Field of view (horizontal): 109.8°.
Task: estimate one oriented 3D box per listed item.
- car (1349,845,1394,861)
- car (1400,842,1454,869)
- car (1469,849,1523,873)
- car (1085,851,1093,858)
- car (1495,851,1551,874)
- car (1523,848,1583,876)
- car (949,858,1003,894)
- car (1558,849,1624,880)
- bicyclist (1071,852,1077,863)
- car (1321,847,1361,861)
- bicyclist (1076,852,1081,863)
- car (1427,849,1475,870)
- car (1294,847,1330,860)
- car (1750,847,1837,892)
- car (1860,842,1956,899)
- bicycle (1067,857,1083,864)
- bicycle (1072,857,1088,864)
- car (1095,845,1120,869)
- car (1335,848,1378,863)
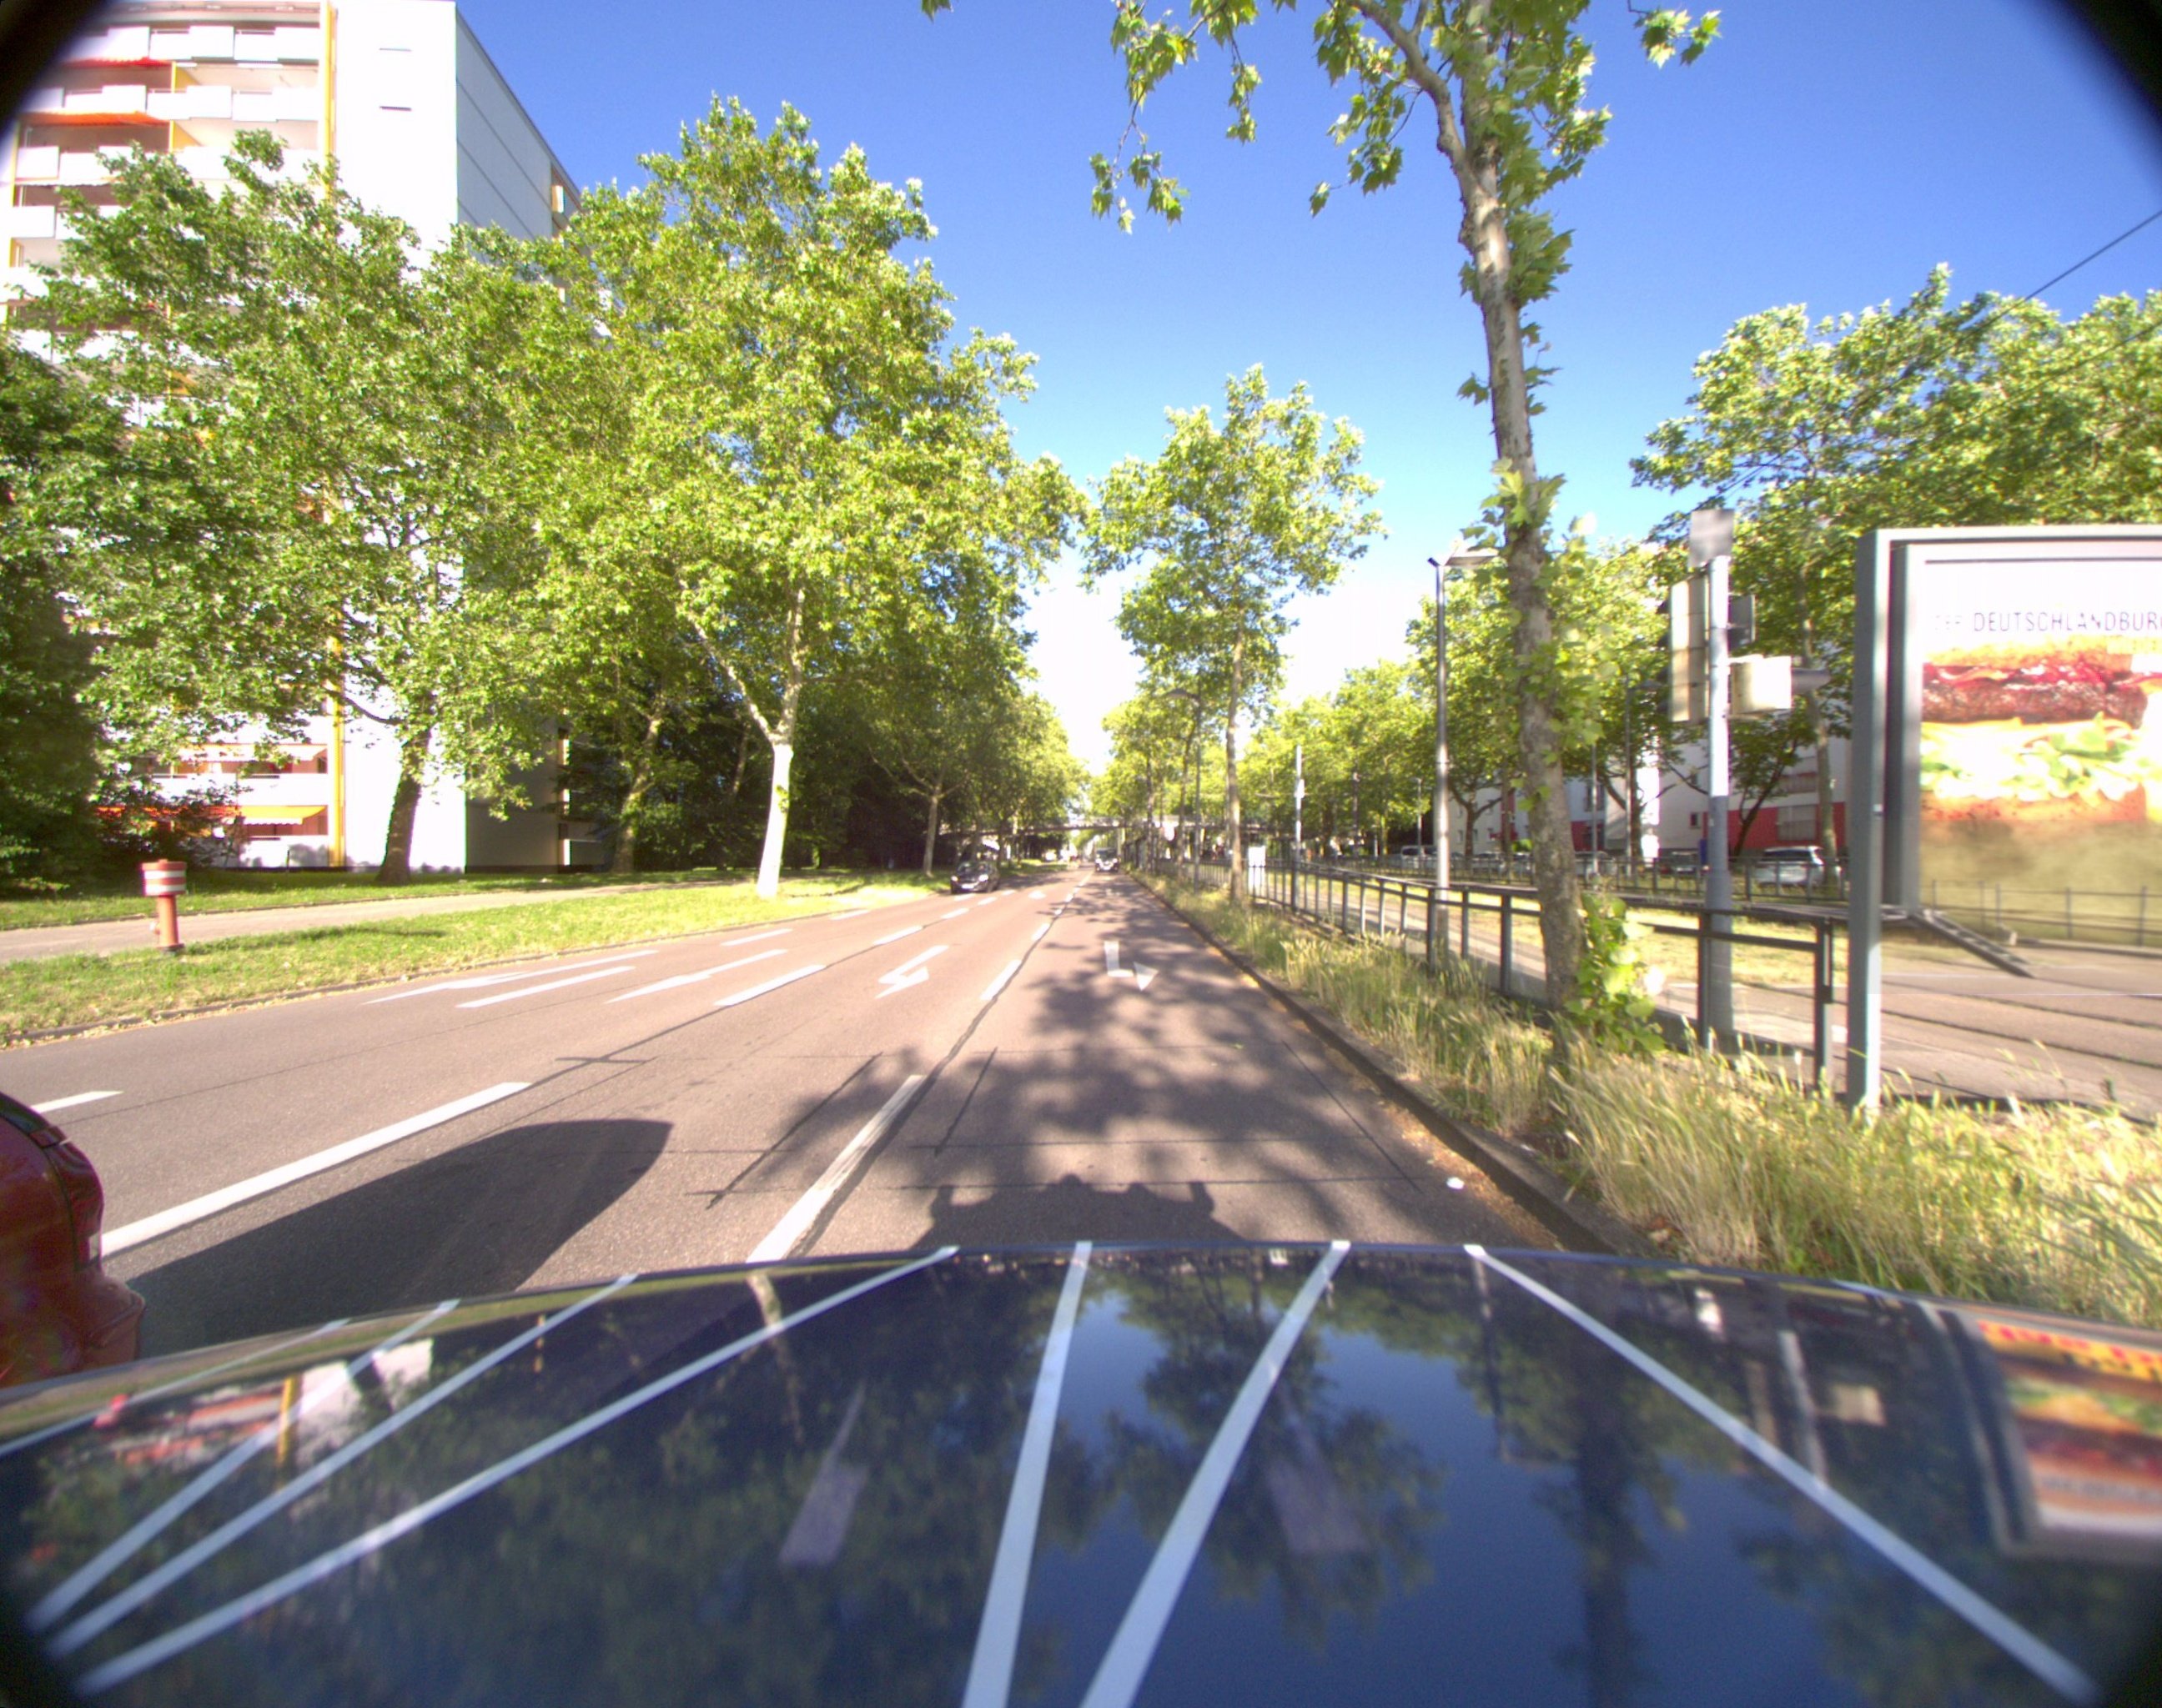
[{"bbox_3d":[26.894,-0.091,70.187,4.376,1.367,1.919,-1,1,-39],"label":"car"},{"bbox_3d":[25.953,0.083,56.982,4.376,1.873,1.919,-1,1,-39],"label":"car"},{"bbox_3d":[25.950,0.414,47.485,3.689,1.440,1.645,-1,1,-39],"label":"car"},{"bbox_3d":[2.253,0.071,209.303,2.040,1.995,5.113,-1,0,1],"label":"car"},{"bbox_3d":[26.193,0.481,44.950,3.689,1.234,1.645,-1,1,-39],"label":"car"},{"bbox_3d":[25.804,0.428,41.508,3.689,1.440,1.645,-1,1,-39],"label":"car"},{"bbox_3d":[-4.661,0.942,34.250,1.750,1.460,3.892,-1,0,2],"label":"car"},{"bbox_3d":[25.324,0.500,37.680,3.689,1.384,1.645,-1,1,-38],"label":"car"},{"bbox_3d":[-0.976,0.499,102.050,0.709,1.479,0.610,-1,1,-2],"label":"bicyclist"},{"bbox_3d":[27.234,0.022,79.565,4.376,1.367,1.919,-1,1,-39],"label":"car"},{"bbox_3d":[-0.317,0.493,100.306,0.709,1.479,0.610,-1,1,-2],"label":"bicyclist"},{"bbox_3d":[26.238,0.346,53.888,3.689,1.388,1.645,-1,1,-39],"label":"car"},{"bbox_3d":[27.193,-0.062,89.418,4.376,1.367,1.919,-1,1,-39],"label":"car"},{"bbox_3d":[25.050,0.493,26.676,3.689,1.425,1.683,-1,1,-38],"label":"car"},{"bbox_3d":[25.012,0.461,22.950,3.689,1.558,1.683,-1,1,-38],"label":"car"},{"bbox_3d":[-0.769,0.859,102.062,2.143,0.959,0.601,-1,1,-3],"label":"bicycle"},{"bbox_3d":[-0.166,0.861,100.321,2.143,0.959,0.601,-1,1,-3],"label":"bicycle"},{"bbox_3d":[2.348,0.240,68.374,2.040,2.102,5.113,-1,0,1],"label":"car"},{"bbox_3d":[26.580,0.097,73.268,4.376,1.367,1.919,-1,1,-39],"label":"car"}]
